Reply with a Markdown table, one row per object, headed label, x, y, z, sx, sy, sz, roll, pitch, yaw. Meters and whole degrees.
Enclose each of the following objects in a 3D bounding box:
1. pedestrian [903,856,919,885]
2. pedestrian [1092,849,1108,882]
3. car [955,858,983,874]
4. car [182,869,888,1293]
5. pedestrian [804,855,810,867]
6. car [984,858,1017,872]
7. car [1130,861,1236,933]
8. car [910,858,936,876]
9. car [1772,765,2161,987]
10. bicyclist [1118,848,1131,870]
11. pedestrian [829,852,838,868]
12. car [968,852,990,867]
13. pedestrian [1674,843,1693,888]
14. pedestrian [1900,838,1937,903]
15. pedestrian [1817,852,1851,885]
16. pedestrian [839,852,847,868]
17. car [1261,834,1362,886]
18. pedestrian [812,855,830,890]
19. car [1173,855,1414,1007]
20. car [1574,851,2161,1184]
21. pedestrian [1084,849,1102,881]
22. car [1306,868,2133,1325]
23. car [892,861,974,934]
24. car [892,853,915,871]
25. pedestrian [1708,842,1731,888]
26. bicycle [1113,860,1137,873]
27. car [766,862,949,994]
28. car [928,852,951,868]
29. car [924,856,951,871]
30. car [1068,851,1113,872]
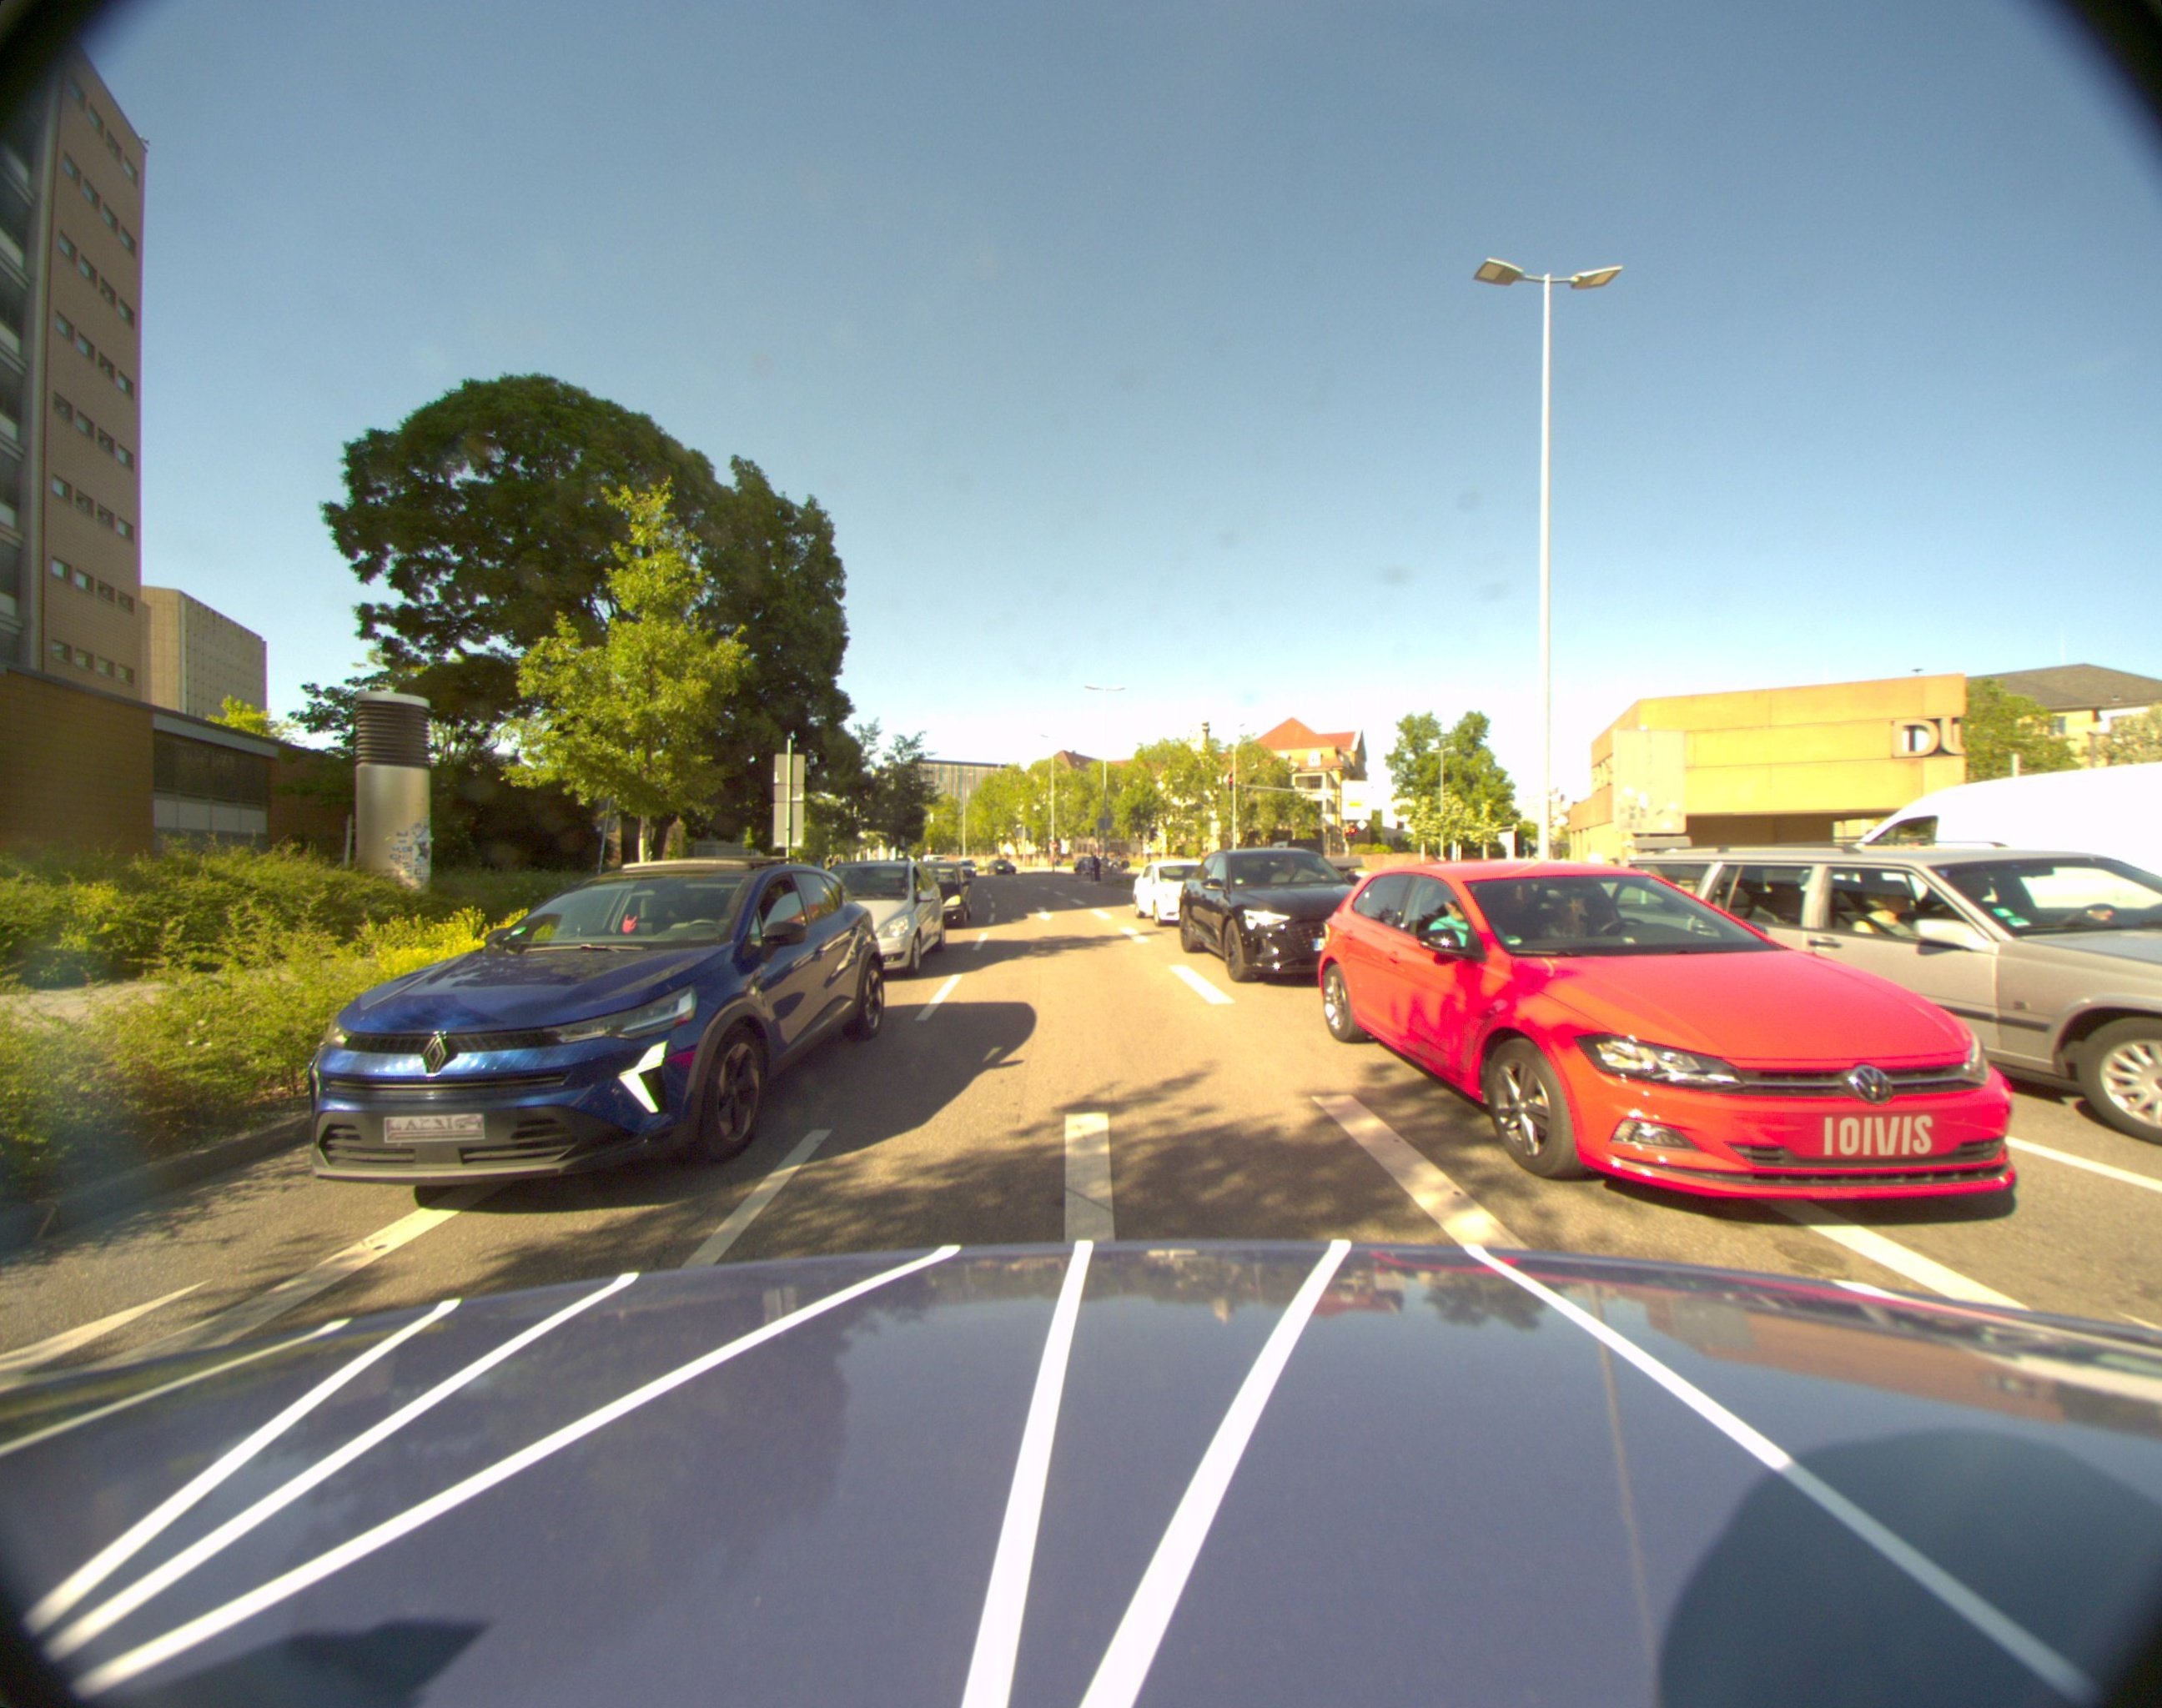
| label | x | y | z | sx | sy | sz | roll | pitch | yaw |
| --- | --- | --- | --- | --- | --- | --- | --- | --- | --- |
| pedestrian | -9.349 | 0.882 | 41.830 | 0.661 | 1.594 | 0.693 | 0 | 0 | 2 |
| pedestrian | 1.084 | 0.641 | 43.150 | 0.756 | 1.814 | 0.776 | -2 | 1 | -6 |
| car | -9.662 | 1.004 | 65.269 | 1.754 | 1.370 | 3.568 | -1 | 0 | -19 |
| car | -2.688 | 0.944 | 5.065 | 1.705 | 1.596 | 4.084 | -1 | 0 | 0 |
| pedestrian | -44.181 | 1.136 | 122.425 | 0.823 | 1.906 | 0.770 | -2 | 1 | -26 |
| car | -7.639 | 1.030 | 72.079 | 1.588 | 1.197 | 3.990 | 0 | 0 | -30 |
| car | 2.273 | 0.923 | 17.820 | 1.575 | 1.410 | 3.711 | -3 | 0 | -6 |
| car | -14.107 | 1.105 | 67.632 | 1.754 | 1.467 | 3.568 | -2 | 1 | -19 |
| car | 12.867 | 0.243 | 10.043 | 2.000 | 2.493 | 5.414 | 0 | 0 | -10 |
| bicyclist | 3.216 | 0.382 | 56.153 | 0.814 | 1.549 | 0.696 | -2 | 1 | 18 |
| pedestrian | -30.087 | 0.764 | 92.354 | 0.823 | 1.906 | 0.770 | -2 | 1 | -25 |
| car | -11.409 | 0.649 | 84.989 | 1.598 | 1.596 | 3.066 | -1 | 0 | -26 |
| pedestrian | 24.101 | 0.454 | 30.403 | 0.467 | 1.766 | 0.647 | 0 | 1 | 29 |
| pedestrian | 23.552 | 0.468 | 21.368 | 0.647 | 1.778 | 0.666 | -3 | 1 | -40 |
| pedestrian | 30.120 | 0.574 | 30.419 | 0.645 | 1.303 | 0.763 | -1 | 0 | 10 |
| pedestrian | -29.008 | 0.724 | 92.534 | 0.823 | 1.906 | 0.770 | -2 | 1 | -25 |
| car | 11.057 | 0.267 | 37.078 | 2.117 | 2.300 | 6.209 | -1 | 0 | -10 |
| pedestrian | -11.739 | 0.830 | 34.357 | 0.693 | 1.594 | 0.661 | 0 | 0 | -14 |
| car | 2.562 | 0.829 | 10.388 | 1.859 | 1.606 | 4.452 | 0 | 0 | -3 |
| car | 5.765 | 0.774 | 5.022 | 1.713 | 1.464 | 4.752 | -4 | -1 | -2 |
| pedestrian | 0.711 | 0.617 | 44.516 | 0.887 | 1.814 | 0.776 | -2 | 1 | -7 |
| car | 2.797 | 0.873 | 4.561 | 1.674 | 1.464 | 3.853 | -2 | 0 | -1 |
| car | -3.569 | 0.984 | 18.803 | 1.651 | 1.601 | 3.488 | 0 | 0 | -6 |
| car | -18.640 | 0.865 | 79.647 | 1.830 | 1.842 | 3.745 | 0 | 0 | -20 |
| pedestrian | 24.631 | 0.427 | 29.296 | 0.644 | 1.766 | 0.618 | 0 | 1 | 42 |
| bicycle | 3.260 | 0.897 | 56.152 | 1.651 | 0.884 | 0.591 | -2 | 1 | 18 |
| car | -3.160 | 0.952 | 11.588 | 1.786 | 1.615 | 4.042 | 0 | 0 | -3 |
| car | -18.433 | 0.761 | 98.881 | 1.790 | 2.002 | 4.223 | -2 | 1 | -26 |
| car | -15.323 | 0.983 | 80.914 | 1.884 | 1.472 | 3.992 | -2 | 0 | -24 |
| car | 0.769 | 0.572 | 62.741 | 3.371 | 1.670 | 1.528 | 0 | 1 | 32 |
